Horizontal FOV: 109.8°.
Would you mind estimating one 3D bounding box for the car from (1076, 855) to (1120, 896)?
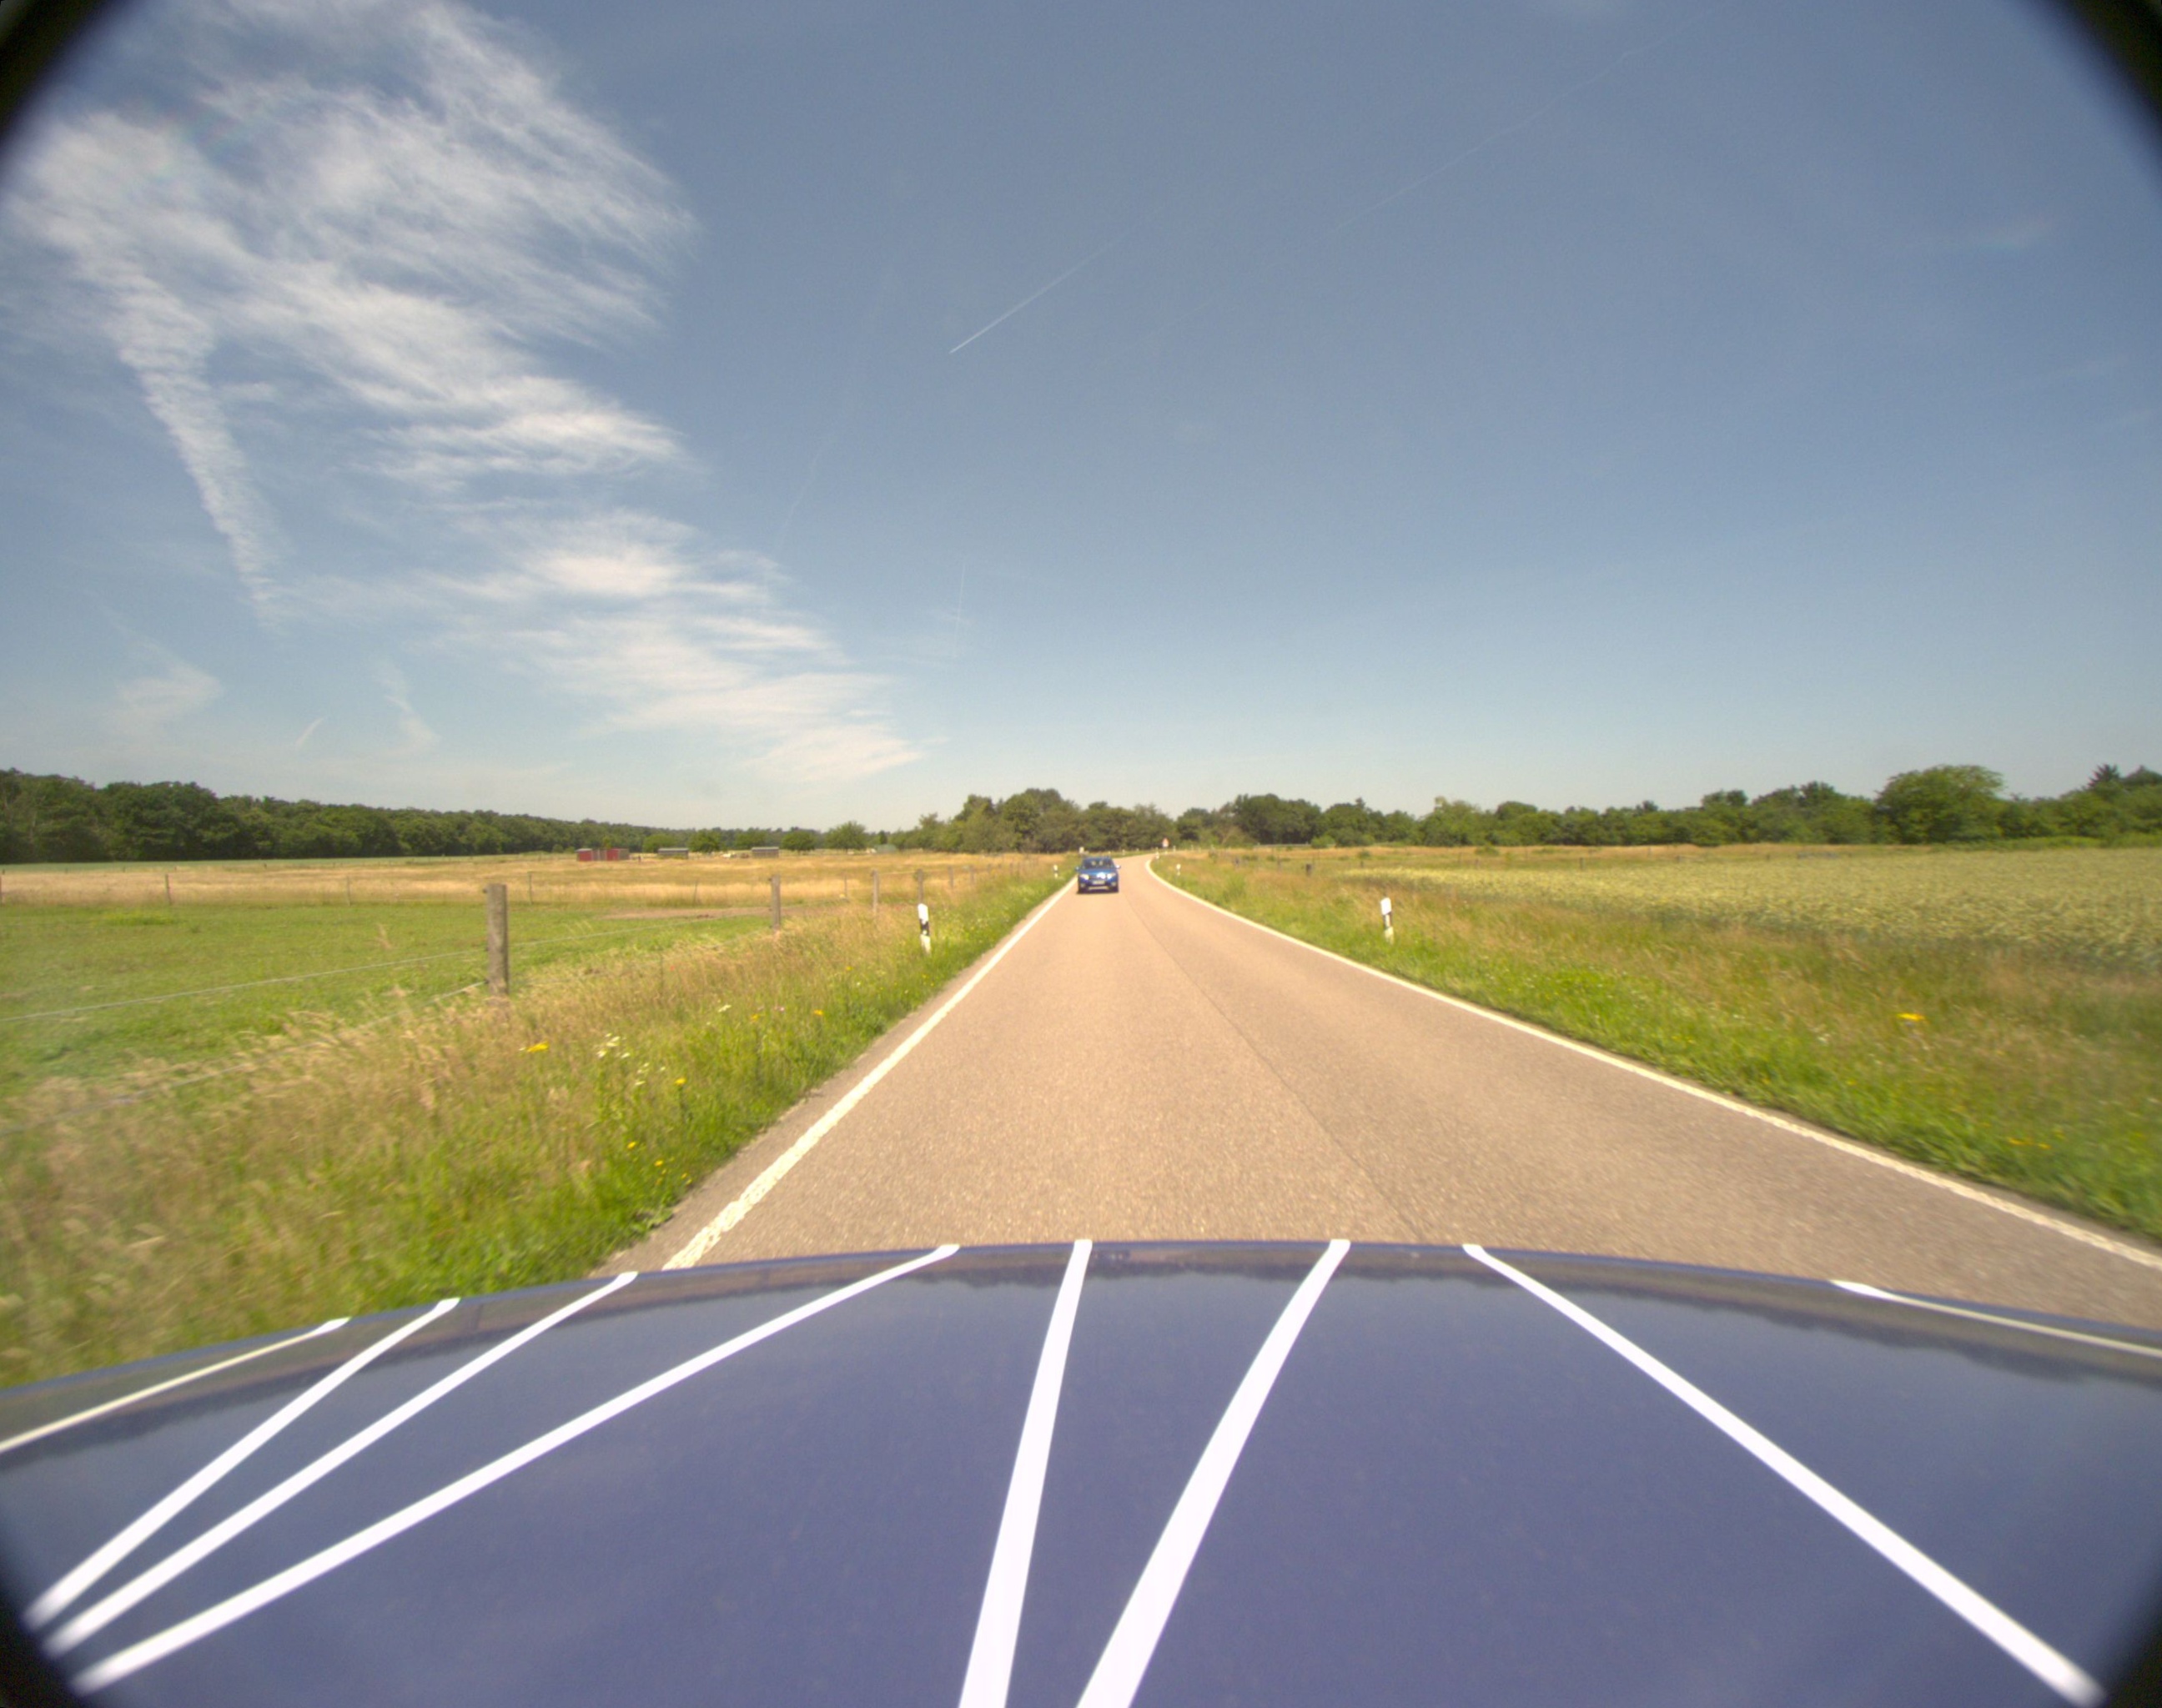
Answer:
[{"bbox_3d":[0.803,0.892,33.417,1.734,1.572,4.001,-2,1,3],"label":"car"}]
